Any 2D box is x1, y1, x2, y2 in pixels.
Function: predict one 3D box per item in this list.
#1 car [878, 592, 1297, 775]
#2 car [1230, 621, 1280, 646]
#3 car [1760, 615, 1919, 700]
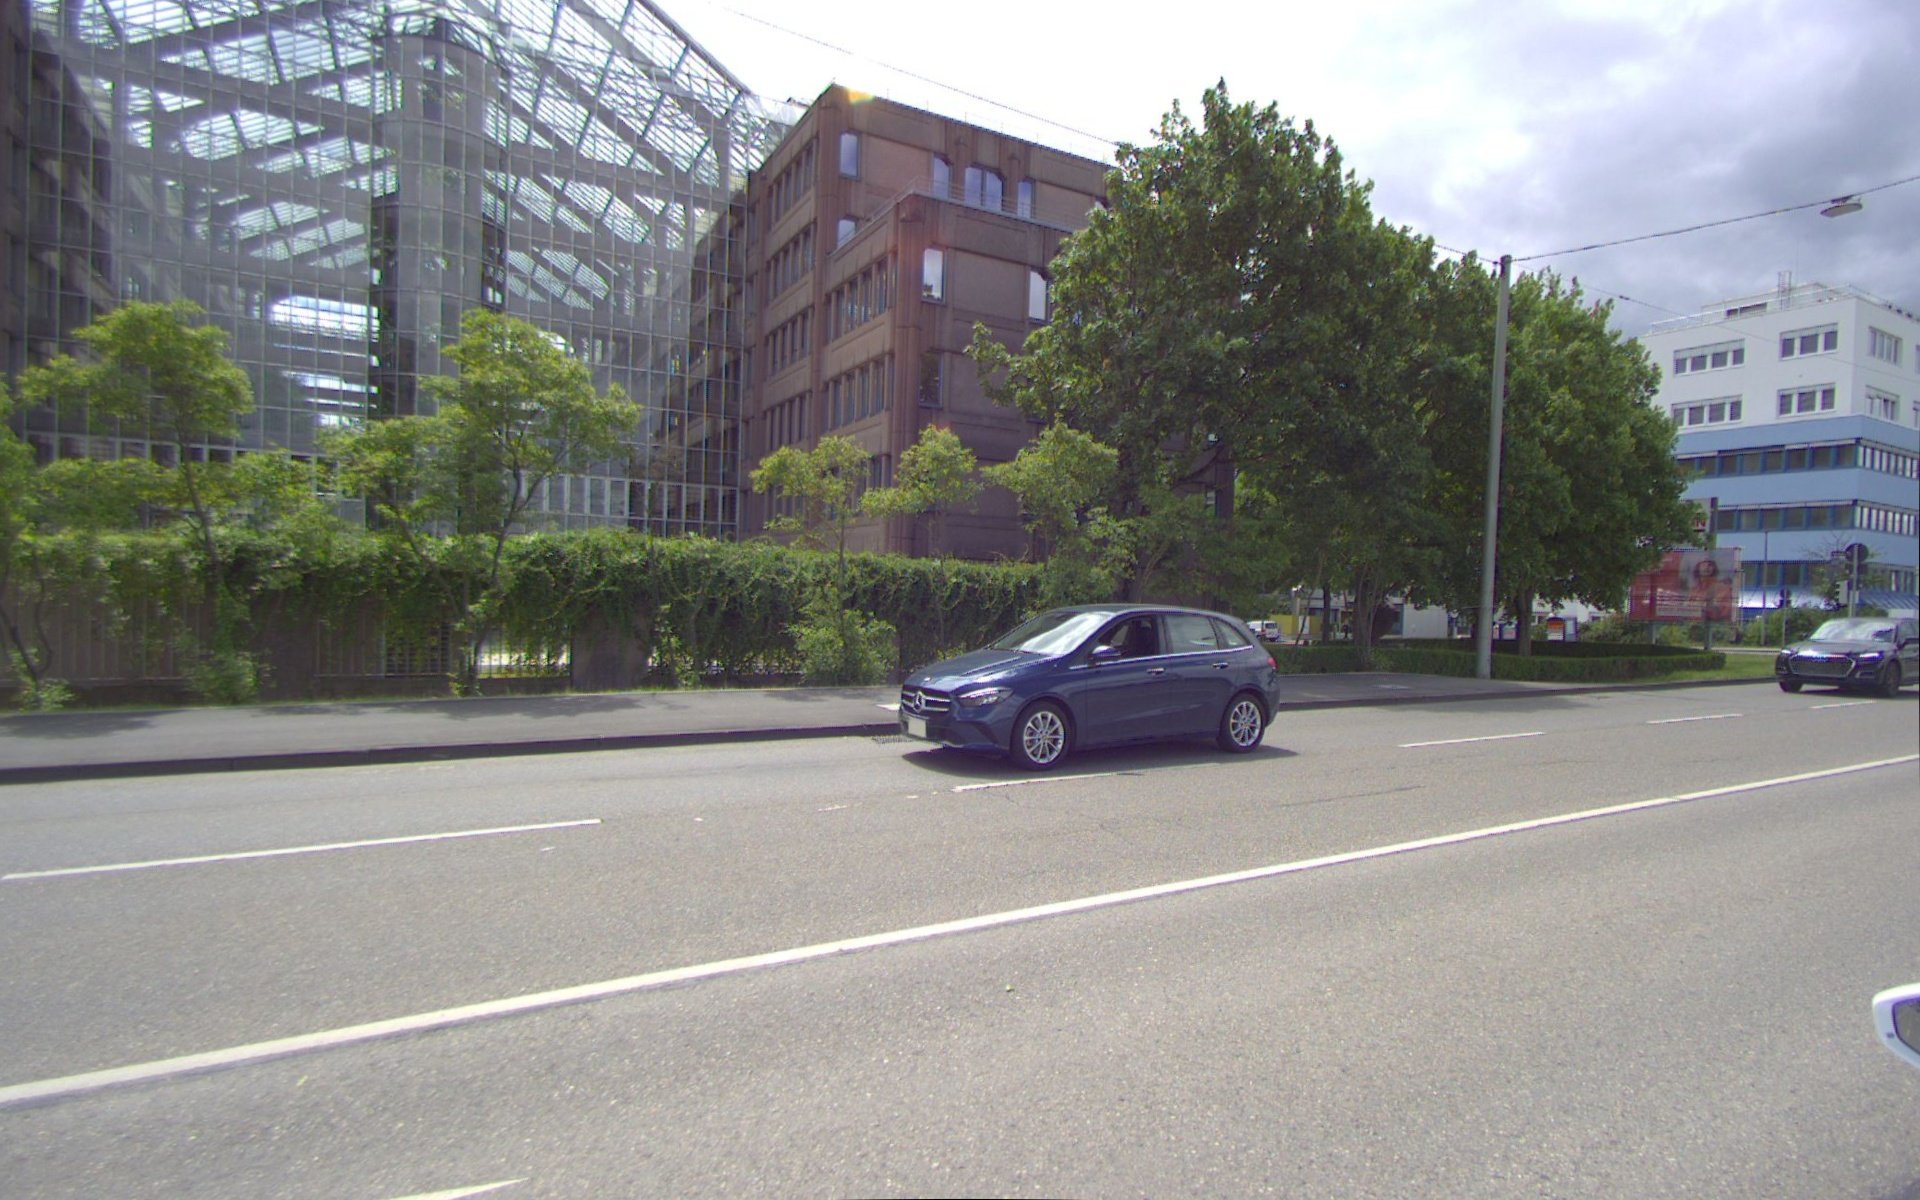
[{"bbox_3d":[1.433,0.780,10.679,4.265,1.606,1.787,1,-1,-32],"label":"car"},{"bbox_3d":[25.629,2.884,87.342,1.975,2.007,3.971,2,0,-28],"label":"car"},{"bbox_3d":[19.522,1.214,21.804,4.518,1.636,1.858,2,0,-30],"label":"car"}]
